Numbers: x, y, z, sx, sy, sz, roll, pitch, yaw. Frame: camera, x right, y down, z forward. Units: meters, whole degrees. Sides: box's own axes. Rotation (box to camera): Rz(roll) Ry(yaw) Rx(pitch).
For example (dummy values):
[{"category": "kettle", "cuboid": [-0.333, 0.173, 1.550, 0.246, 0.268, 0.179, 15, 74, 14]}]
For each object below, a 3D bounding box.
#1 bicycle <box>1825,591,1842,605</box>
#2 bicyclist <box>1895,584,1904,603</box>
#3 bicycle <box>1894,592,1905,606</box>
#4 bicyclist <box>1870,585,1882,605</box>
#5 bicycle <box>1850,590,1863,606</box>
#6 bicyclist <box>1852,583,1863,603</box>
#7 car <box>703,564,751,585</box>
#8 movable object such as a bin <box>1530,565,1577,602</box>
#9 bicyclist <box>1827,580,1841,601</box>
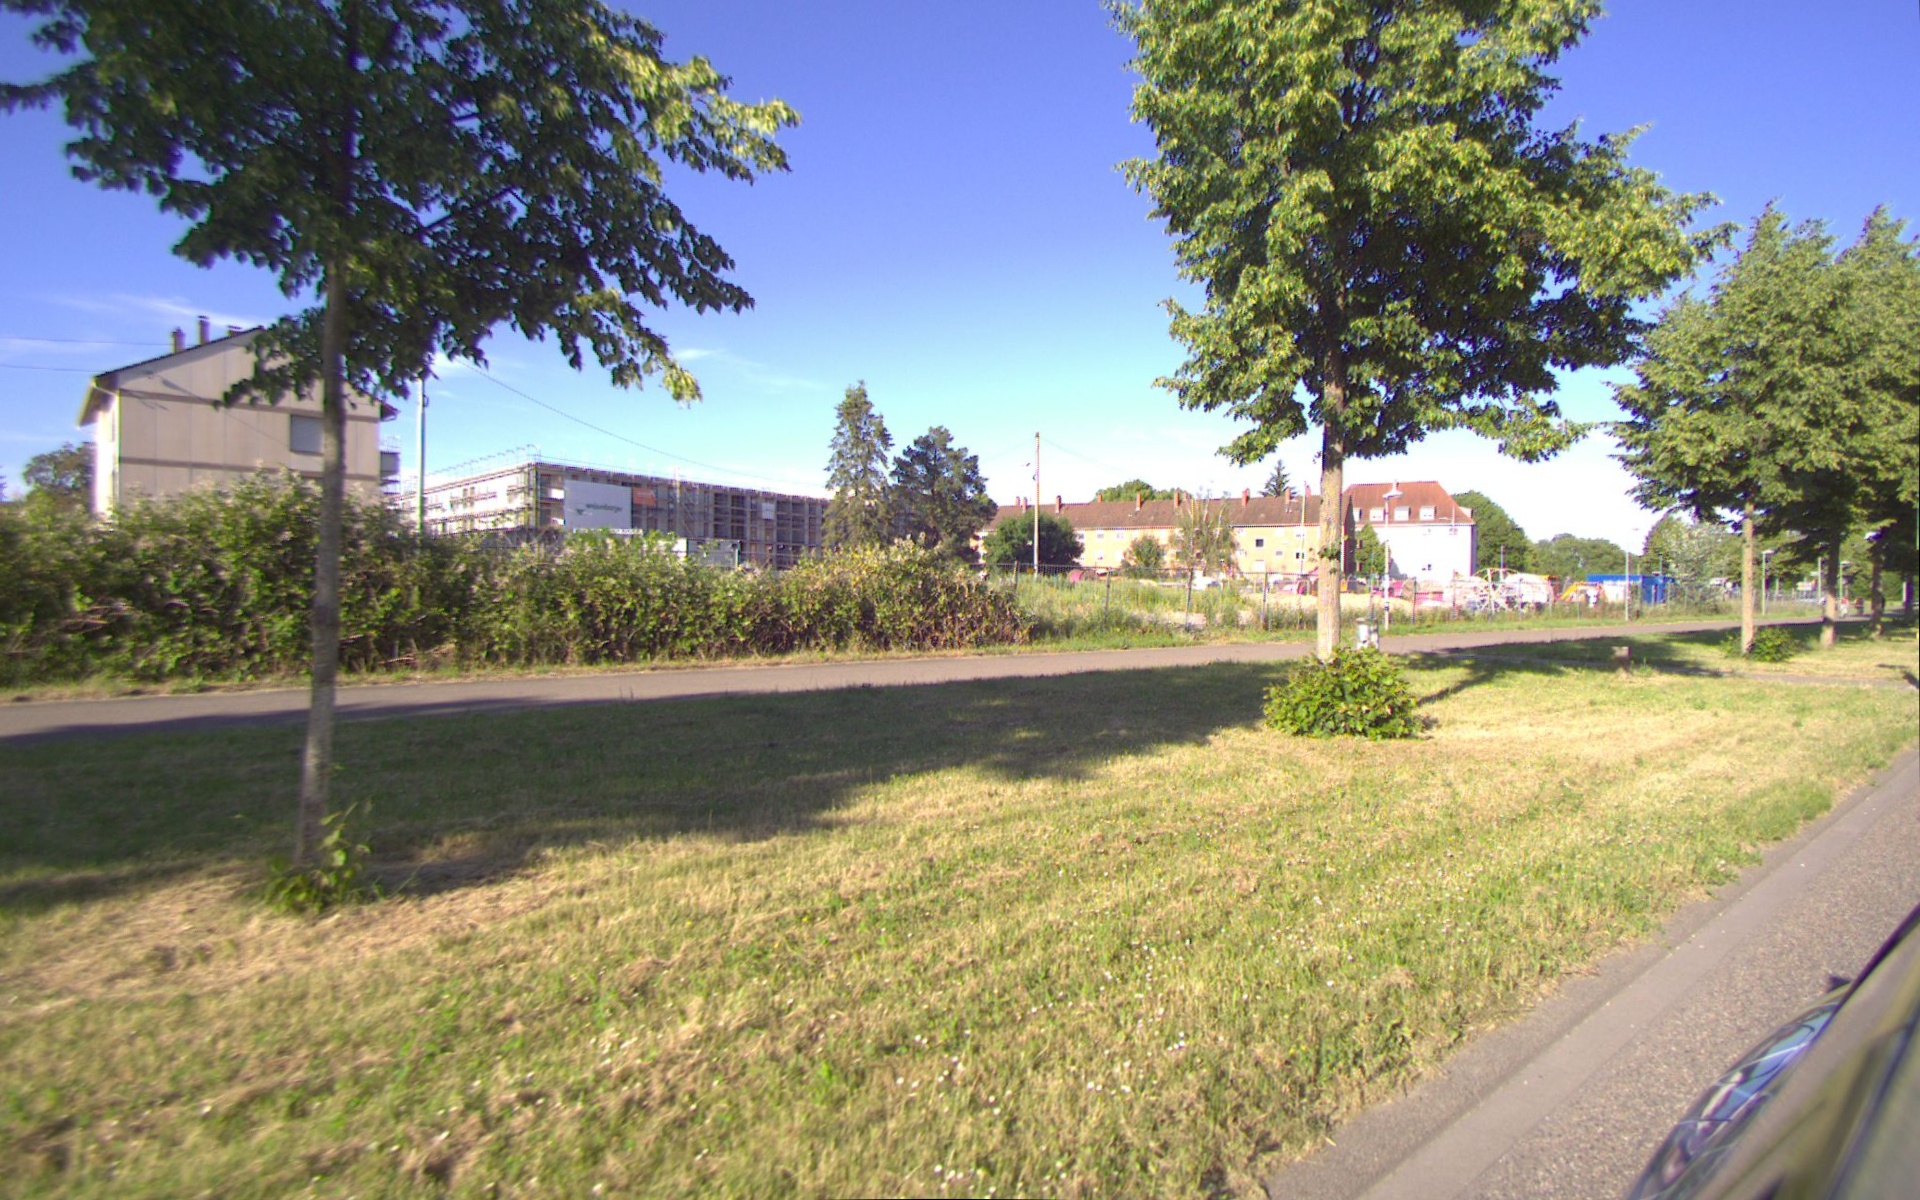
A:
[{"category": "bicycle", "cuboid": [64.507, -0.144, 74.722, 1.788, 1.025, 0.656, 0, 0, -40]}, {"category": "bicyclist", "cuboid": [74.773, -0.533, 80.523, 0.900, 1.504, 0.471, -2, 2, -42]}, {"category": "bicycle", "cuboid": [74.814, -0.064, 80.564, 1.616, 1.095, 0.478, -2, 2, -42]}, {"category": "bicyclist", "cuboid": [73.904, -0.413, 81.655, 0.949, 1.606, 0.592, -2, 2, -42]}, {"category": "bicycle", "cuboid": [65.409, -0.170, 73.827, 1.577, 1.166, 0.506, 0, 2, -41]}, {"category": "bicyclist", "cuboid": [65.455, -0.507, 73.838, 0.819, 1.491, 0.503, -1, 1, -42]}, {"category": "car", "cuboid": [-19.143, -2.109, 83.250, 1.618, 1.638, 3.597, 1, 2, 43]}, {"category": "movable object such as a bin", "cuboid": [33.645, -0.949, 57.374, 1.757, 2.038, 1.799, -2, 2, -39]}, {"category": "bicyclist", "cuboid": [64.471, -0.695, 74.673, 0.781, 1.572, 0.654, -1, 1, -40]}]
